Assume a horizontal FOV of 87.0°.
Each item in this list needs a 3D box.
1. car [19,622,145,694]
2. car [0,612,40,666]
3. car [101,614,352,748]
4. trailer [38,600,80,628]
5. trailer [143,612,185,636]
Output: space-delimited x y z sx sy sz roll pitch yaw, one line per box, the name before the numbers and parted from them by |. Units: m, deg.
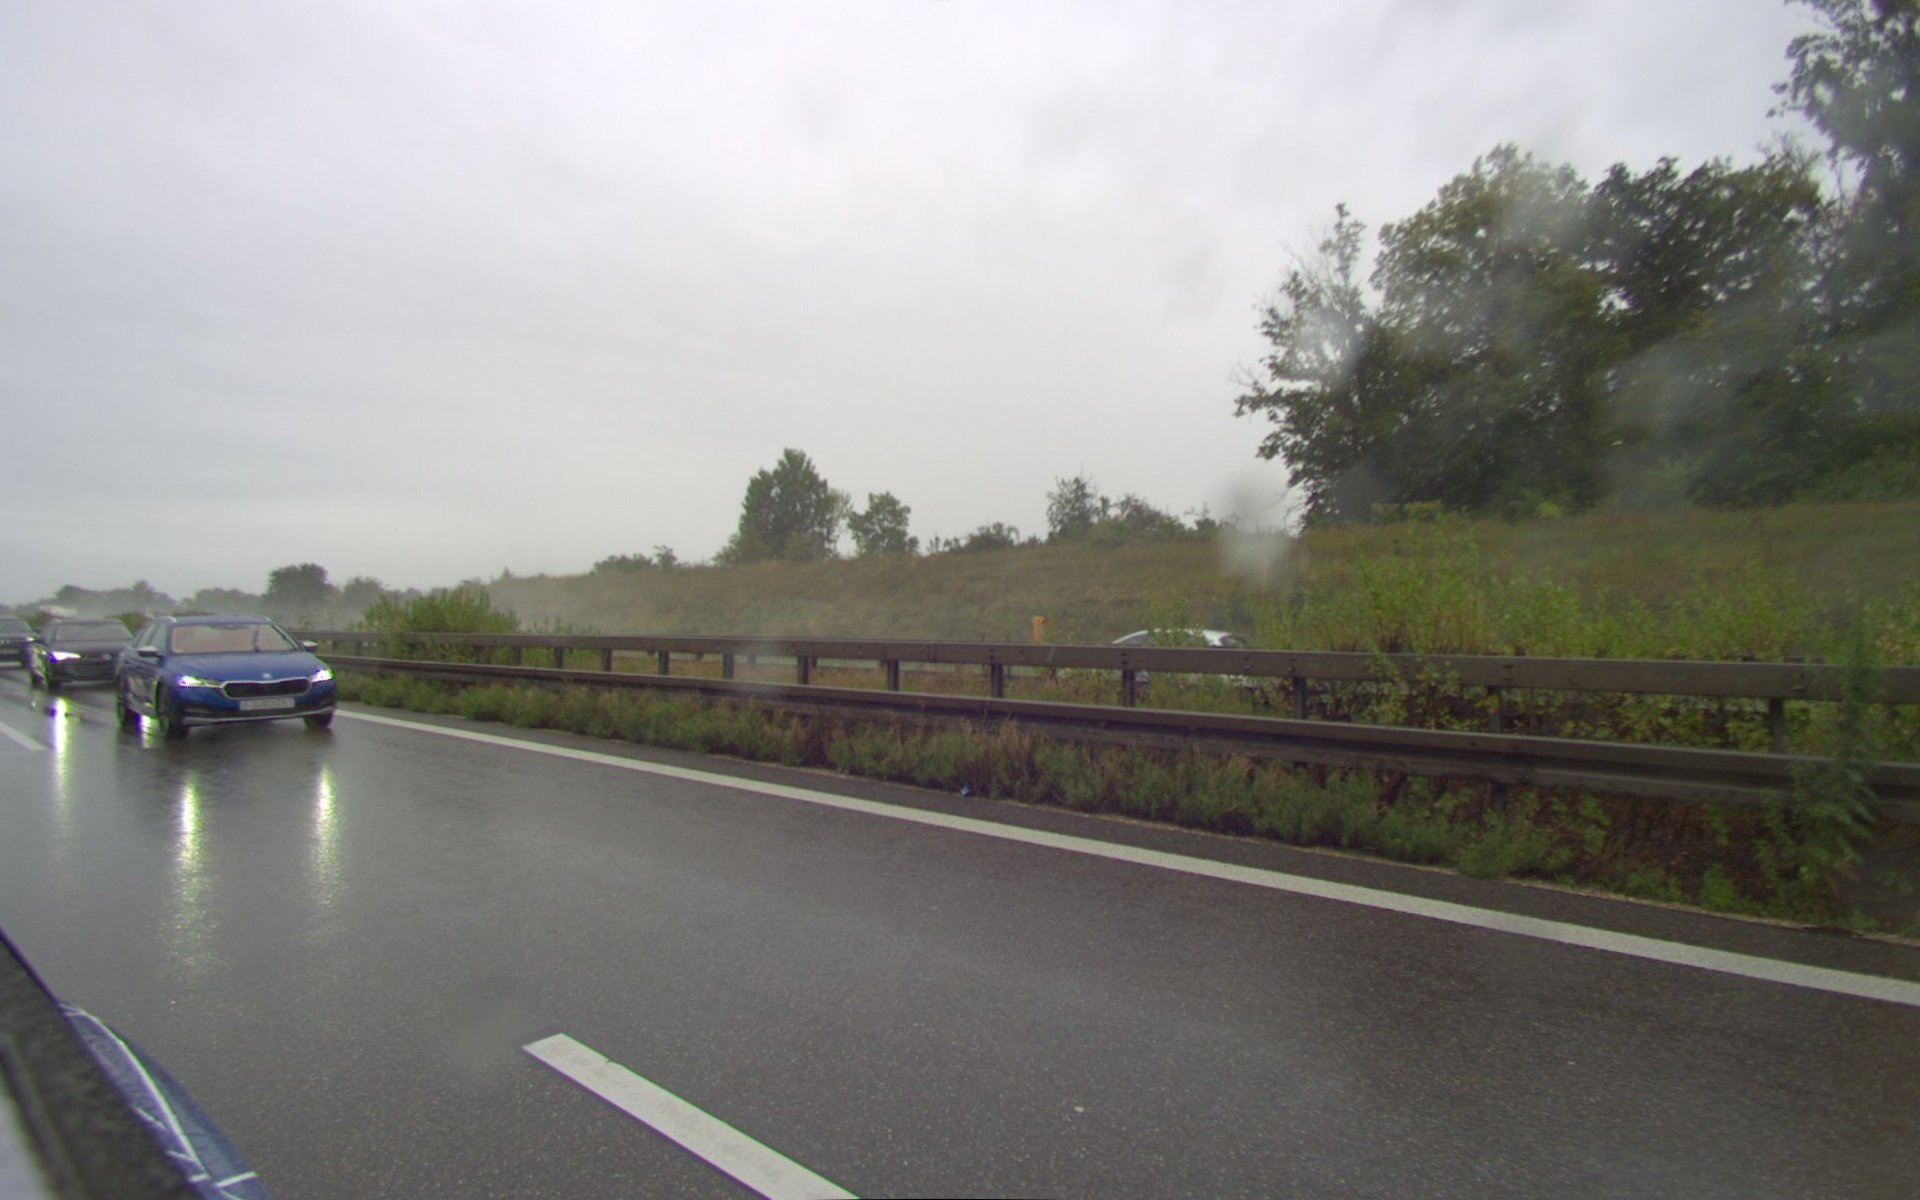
car | -19.891 1.251 22.857 4.368 1.447 1.592 -2 -1 41
car | -31.080 1.251 32.464 4.267 1.644 1.864 -2 -1 41
car | -9.863 0.965 13.471 4.510 1.487 1.767 -2 -1 41
trailer | -94.487 1.473 106.063 7.323 2.740 2.455 0 -2 42
trailer | -73.230 2.181 93.089 5.347 2.029 2.070 0 -2 41
